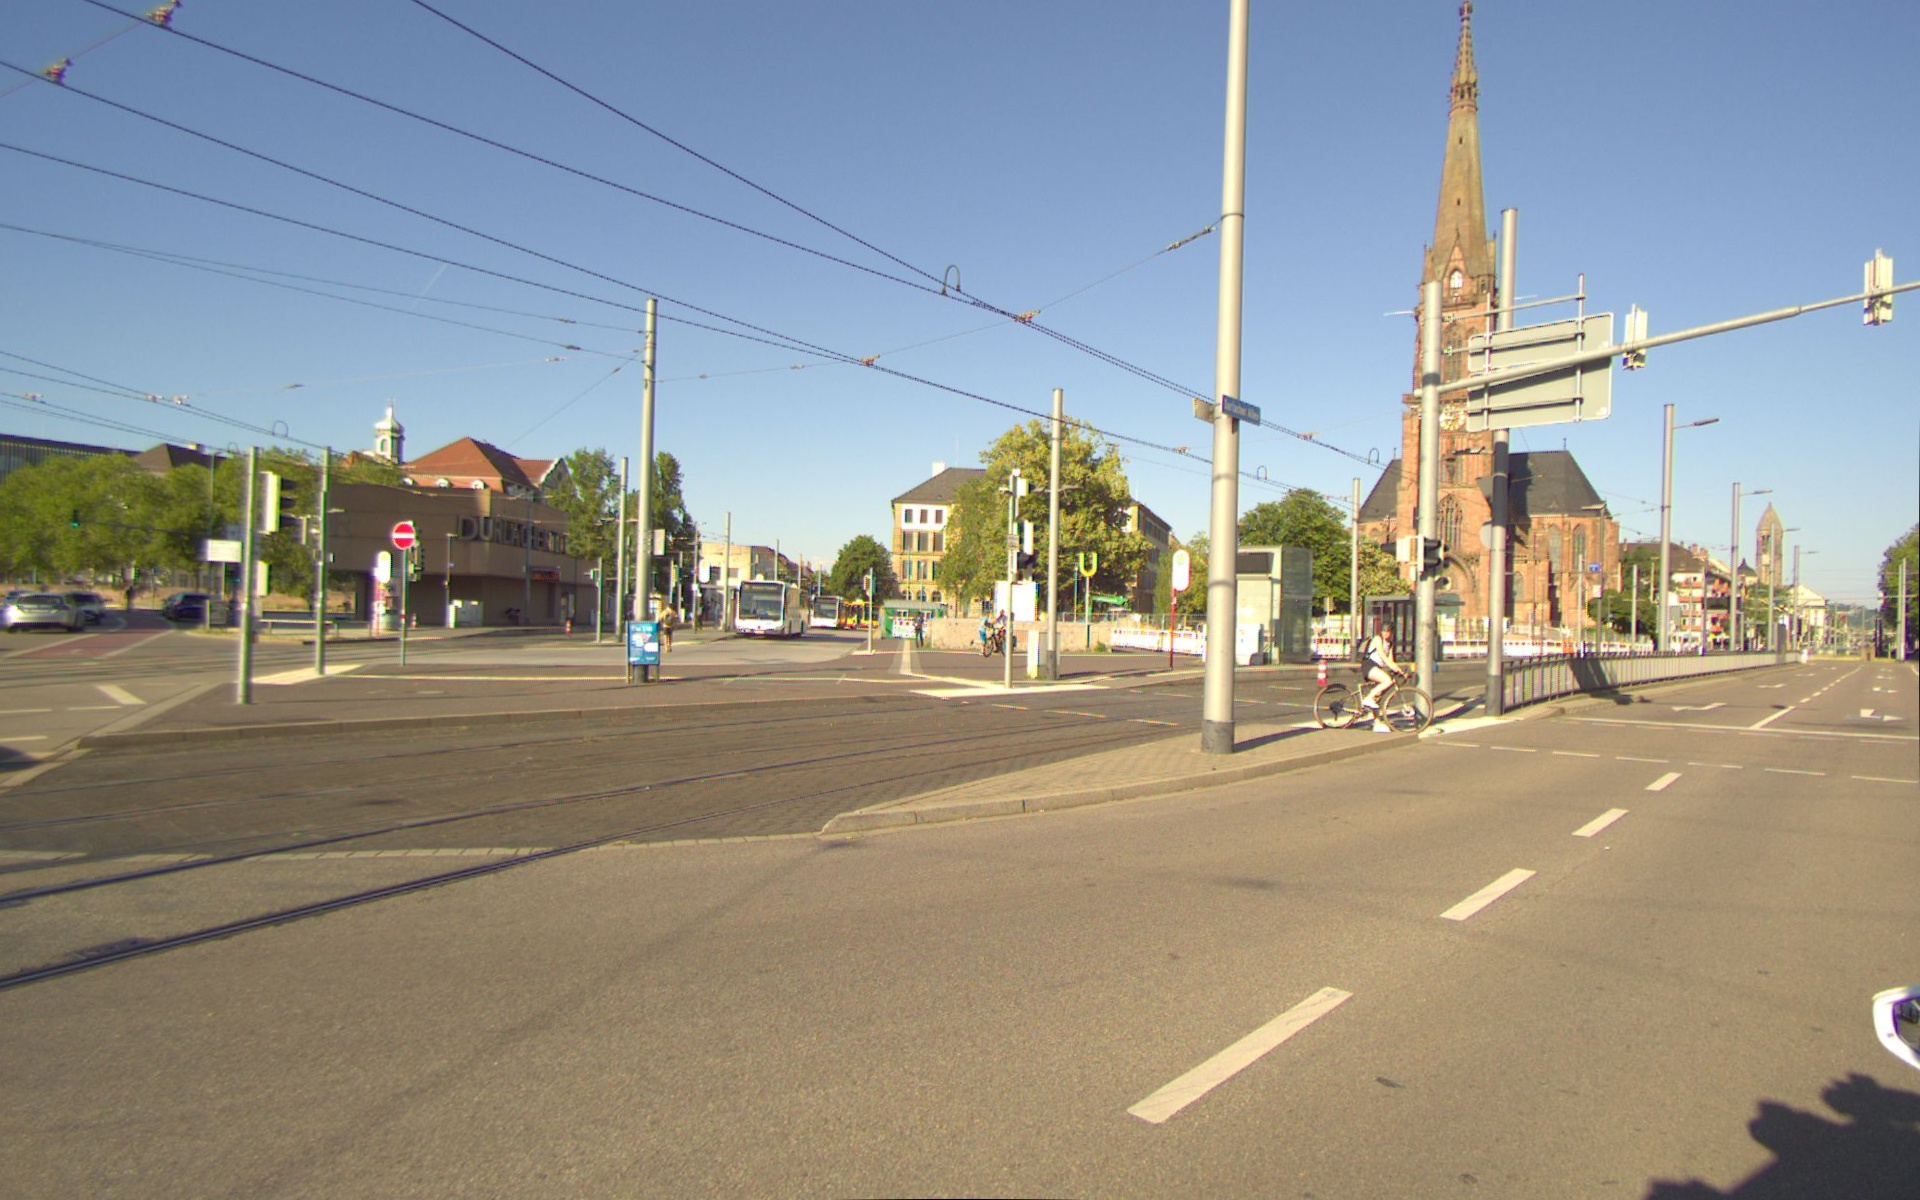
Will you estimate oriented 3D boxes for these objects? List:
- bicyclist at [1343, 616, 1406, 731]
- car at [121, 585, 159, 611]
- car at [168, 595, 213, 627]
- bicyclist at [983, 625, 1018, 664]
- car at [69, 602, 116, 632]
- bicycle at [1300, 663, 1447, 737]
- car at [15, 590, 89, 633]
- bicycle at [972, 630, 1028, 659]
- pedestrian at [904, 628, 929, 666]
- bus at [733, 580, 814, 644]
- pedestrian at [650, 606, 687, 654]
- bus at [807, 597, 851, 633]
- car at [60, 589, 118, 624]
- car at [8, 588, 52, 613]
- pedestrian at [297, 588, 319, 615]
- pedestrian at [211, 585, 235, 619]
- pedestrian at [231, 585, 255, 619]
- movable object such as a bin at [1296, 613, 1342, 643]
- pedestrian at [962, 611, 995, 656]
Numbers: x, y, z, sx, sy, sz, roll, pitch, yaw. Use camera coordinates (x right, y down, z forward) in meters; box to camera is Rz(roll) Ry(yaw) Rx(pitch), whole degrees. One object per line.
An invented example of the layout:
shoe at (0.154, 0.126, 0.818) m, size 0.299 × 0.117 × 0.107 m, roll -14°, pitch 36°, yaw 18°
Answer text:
bicyclist at (6.104, 1.059, 14.786) m, size 0.666 × 1.637 × 0.812 m, roll -1°, pitch -2°, yaw 38°
car at (-54.050, -0.129, 66.168) m, size 1.843 × 1.652 × 3.825 m, roll -2°, pitch 2°, yaw -40°
car at (-42.557, 0.591, 55.532) m, size 1.848 × 1.652 × 3.992 m, roll -2°, pitch 2°, yaw -39°
bicyclist at (1.533, 1.670, 37.822) m, size 0.894 × 1.362 × 0.807 m, roll 3°, pitch 4°, yaw -37°
car at (-49.513, 0.941, 57.389) m, size 1.842 × 1.652 × 3.828 m, roll -1°, pitch 1°, yaw -38°
bicycle at (6.068, 1.435, 14.794) m, size 1.866 × 0.954 × 0.812 m, roll -1°, pitch -2°, yaw 39°
car at (-33.256, 0.408, 36.882) m, size 1.833 × 1.442 × 4.379 m, roll 4°, pitch -2°, yaw -40°
bicycle at (1.528, 1.670, 37.824) m, size 1.984 × 0.954 × 0.807 m, roll 4°, pitch 4°, yaw -37°
pedestrian at (-2.060, 2.199, 47.409) m, size 1.040 × 1.709 × 0.726 m, roll -1°, pitch 1°, yaw -18°
bus at (-10.379, 0.594, 57.294) m, size 2.786 × 3.237 × 12.655 m, roll -1°, pitch 0°, yaw -3°
pedestrian at (-10.466, 1.067, 36.121) m, size 1.037 × 1.709 × 0.727 m, roll -1°, pitch 1°, yaw 27°
bus at (-12.703, 1.338, 98.737) m, size 3.188 × 3.237 × 12.655 m, roll -1°, pitch 0°, yaw -3°
car at (-42.050, 0.308, 48.560) m, size 1.705 × 1.652 × 3.832 m, roll 0°, pitch 0°, yaw -35°
car at (-62.988, 0.022, 68.069) m, size 1.842 × 1.652 × 3.827 m, roll -2°, pitch 2°, yaw -39°
pedestrian at (-39.218, 0.096, 60.408) m, size 1.162 × 1.589 × 0.800 m, roll -1°, pitch 1°, yaw 40°
pedestrian at (-38.678, 0.111, 52.706) m, size 0.949 × 1.792 × 0.800 m, roll 0°, pitch 1°, yaw 40°
pedestrian at (-38.104, 0.099, 53.380) m, size 0.959 × 1.792 × 0.800 m, roll 0°, pitch 1°, yaw 40°
movable object such as a bin at (21.237, 1.617, 59.308) m, size 1.160 × 1.608 × 3.843 m, roll -1°, pitch 0°, yaw 42°
pedestrian at (0.763, 1.354, 41.501) m, size 0.793 × 1.792 × 1.173 m, roll 0°, pitch 1°, yaw 43°
